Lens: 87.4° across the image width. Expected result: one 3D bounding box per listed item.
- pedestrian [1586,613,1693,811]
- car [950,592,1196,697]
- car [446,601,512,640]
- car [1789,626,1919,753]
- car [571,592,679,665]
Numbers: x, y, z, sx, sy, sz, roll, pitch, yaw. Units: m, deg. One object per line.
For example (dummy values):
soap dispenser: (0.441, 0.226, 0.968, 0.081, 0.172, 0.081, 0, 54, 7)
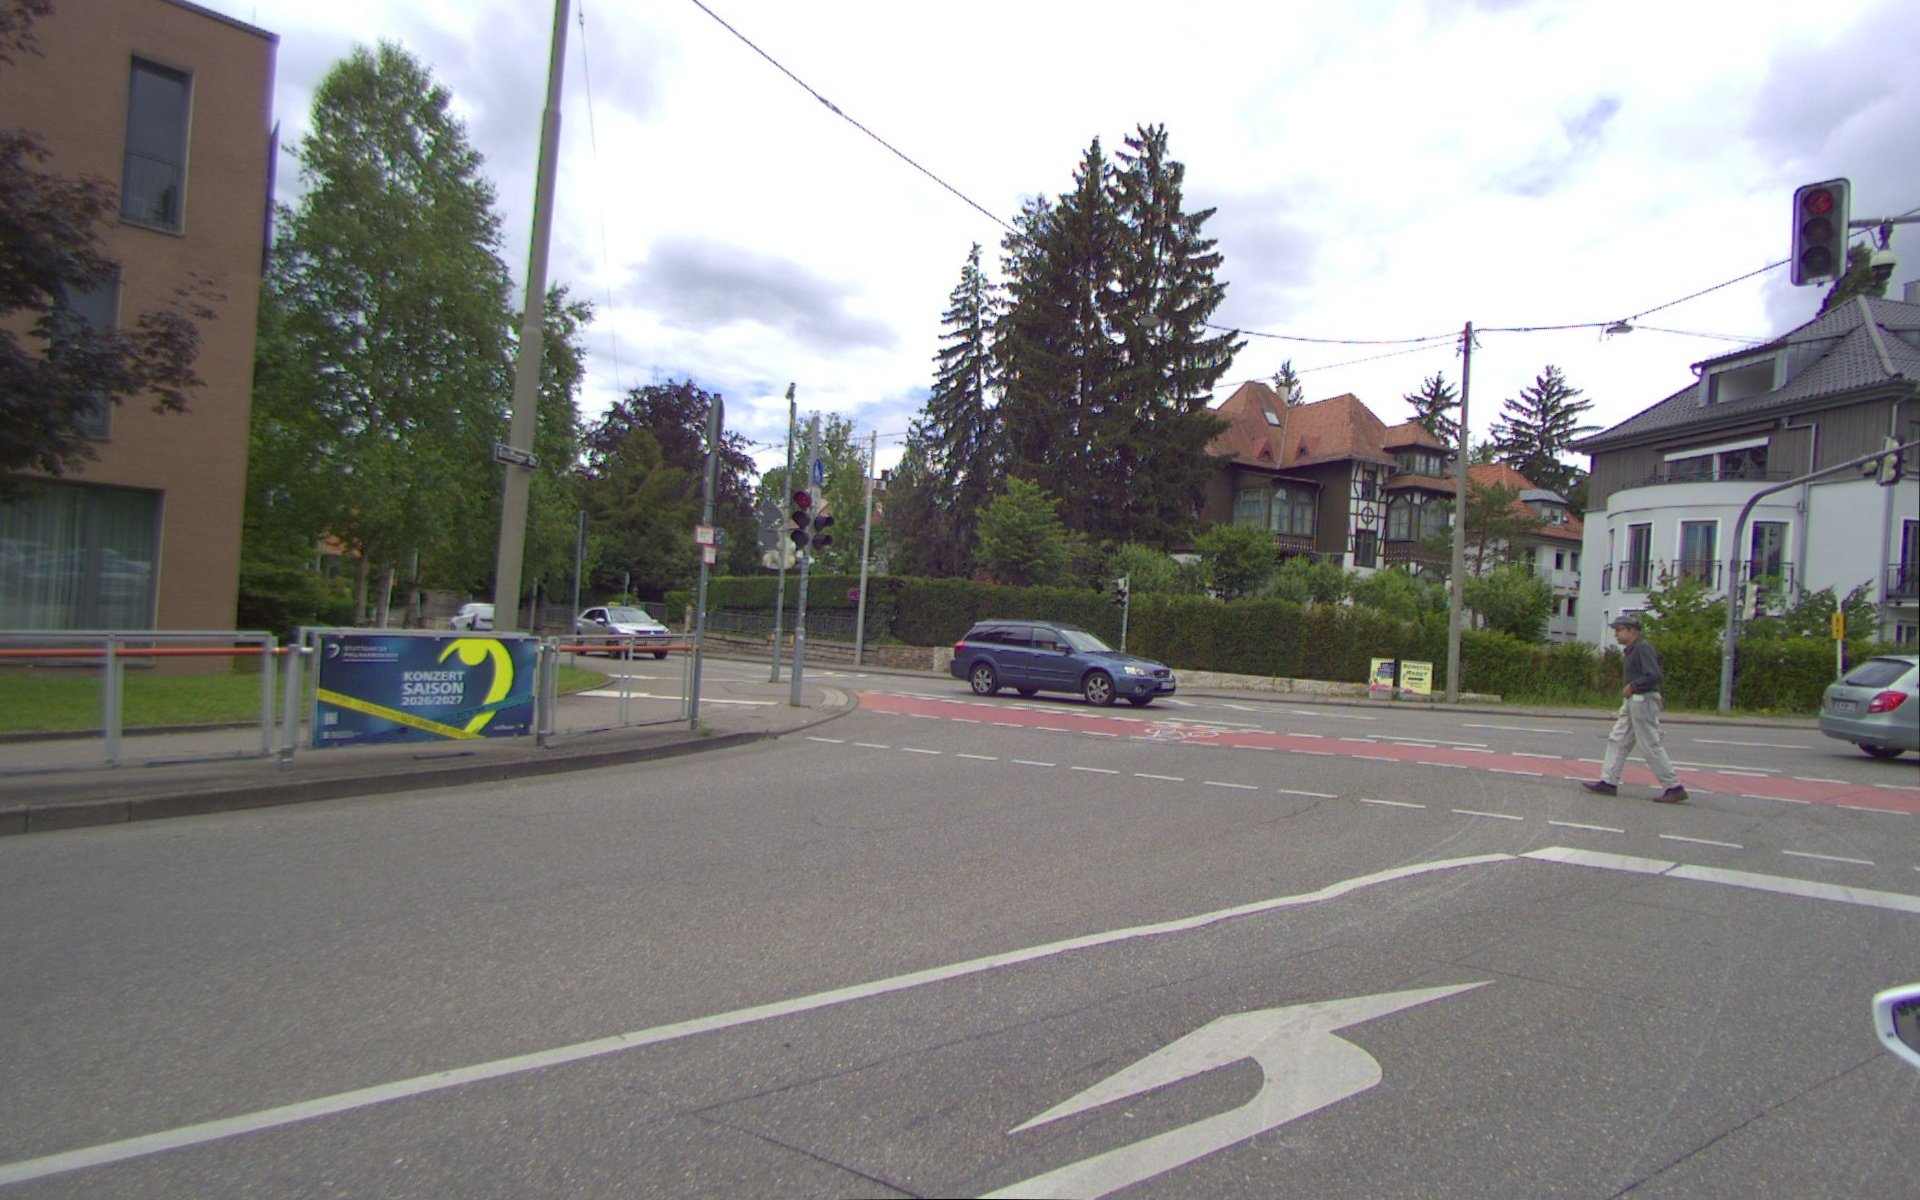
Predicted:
pedestrian: (6.243, 0.989, 9.266, 0.687, 1.705, 0.685, 1, 1, 26)
car: (2.126, 0.811, 19.476, 4.333, 1.706, 1.907, 2, -1, 37)
car: (-26.552, 1.098, 55.379, 4.294, 1.882, 1.987, 3, 2, 44)
car: (13.929, 1.239, 13.308, 4.111, 1.496, 1.713, 2, 3, 16)
car: (-10.958, 0.849, 32.710, 1.984, 2.041, 4.113, -1, 4, -40)
